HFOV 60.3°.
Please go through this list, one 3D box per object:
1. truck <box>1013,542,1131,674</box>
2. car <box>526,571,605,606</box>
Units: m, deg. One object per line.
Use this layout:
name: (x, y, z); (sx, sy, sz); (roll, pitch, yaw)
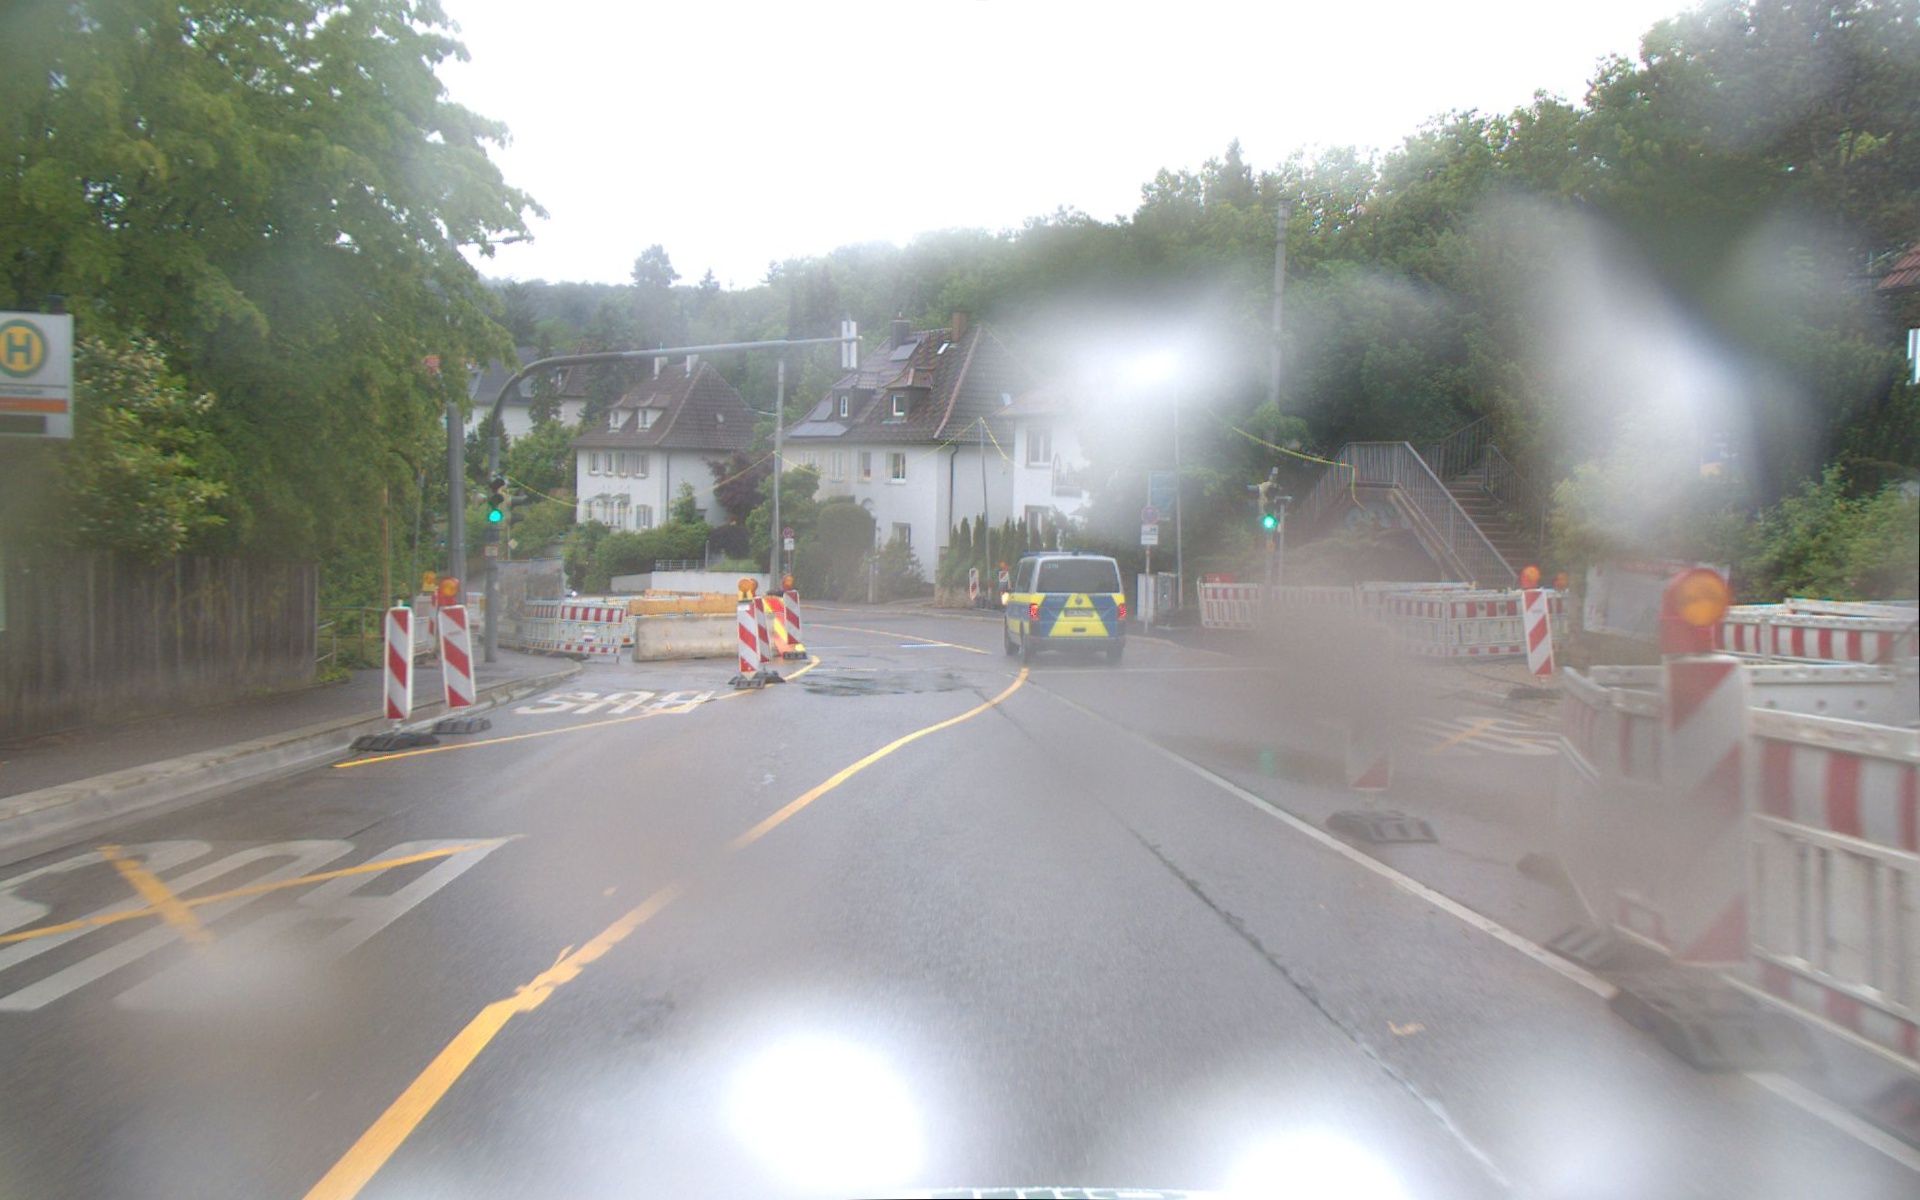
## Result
truck: (2.025, 0.060, 31.210); (1.952, 2.047, 4.738); (0, 5, 1)
car: (-16.691, -0.511, 69.846); (1.769, 1.427, 4.311); (-1, 2, -35)
